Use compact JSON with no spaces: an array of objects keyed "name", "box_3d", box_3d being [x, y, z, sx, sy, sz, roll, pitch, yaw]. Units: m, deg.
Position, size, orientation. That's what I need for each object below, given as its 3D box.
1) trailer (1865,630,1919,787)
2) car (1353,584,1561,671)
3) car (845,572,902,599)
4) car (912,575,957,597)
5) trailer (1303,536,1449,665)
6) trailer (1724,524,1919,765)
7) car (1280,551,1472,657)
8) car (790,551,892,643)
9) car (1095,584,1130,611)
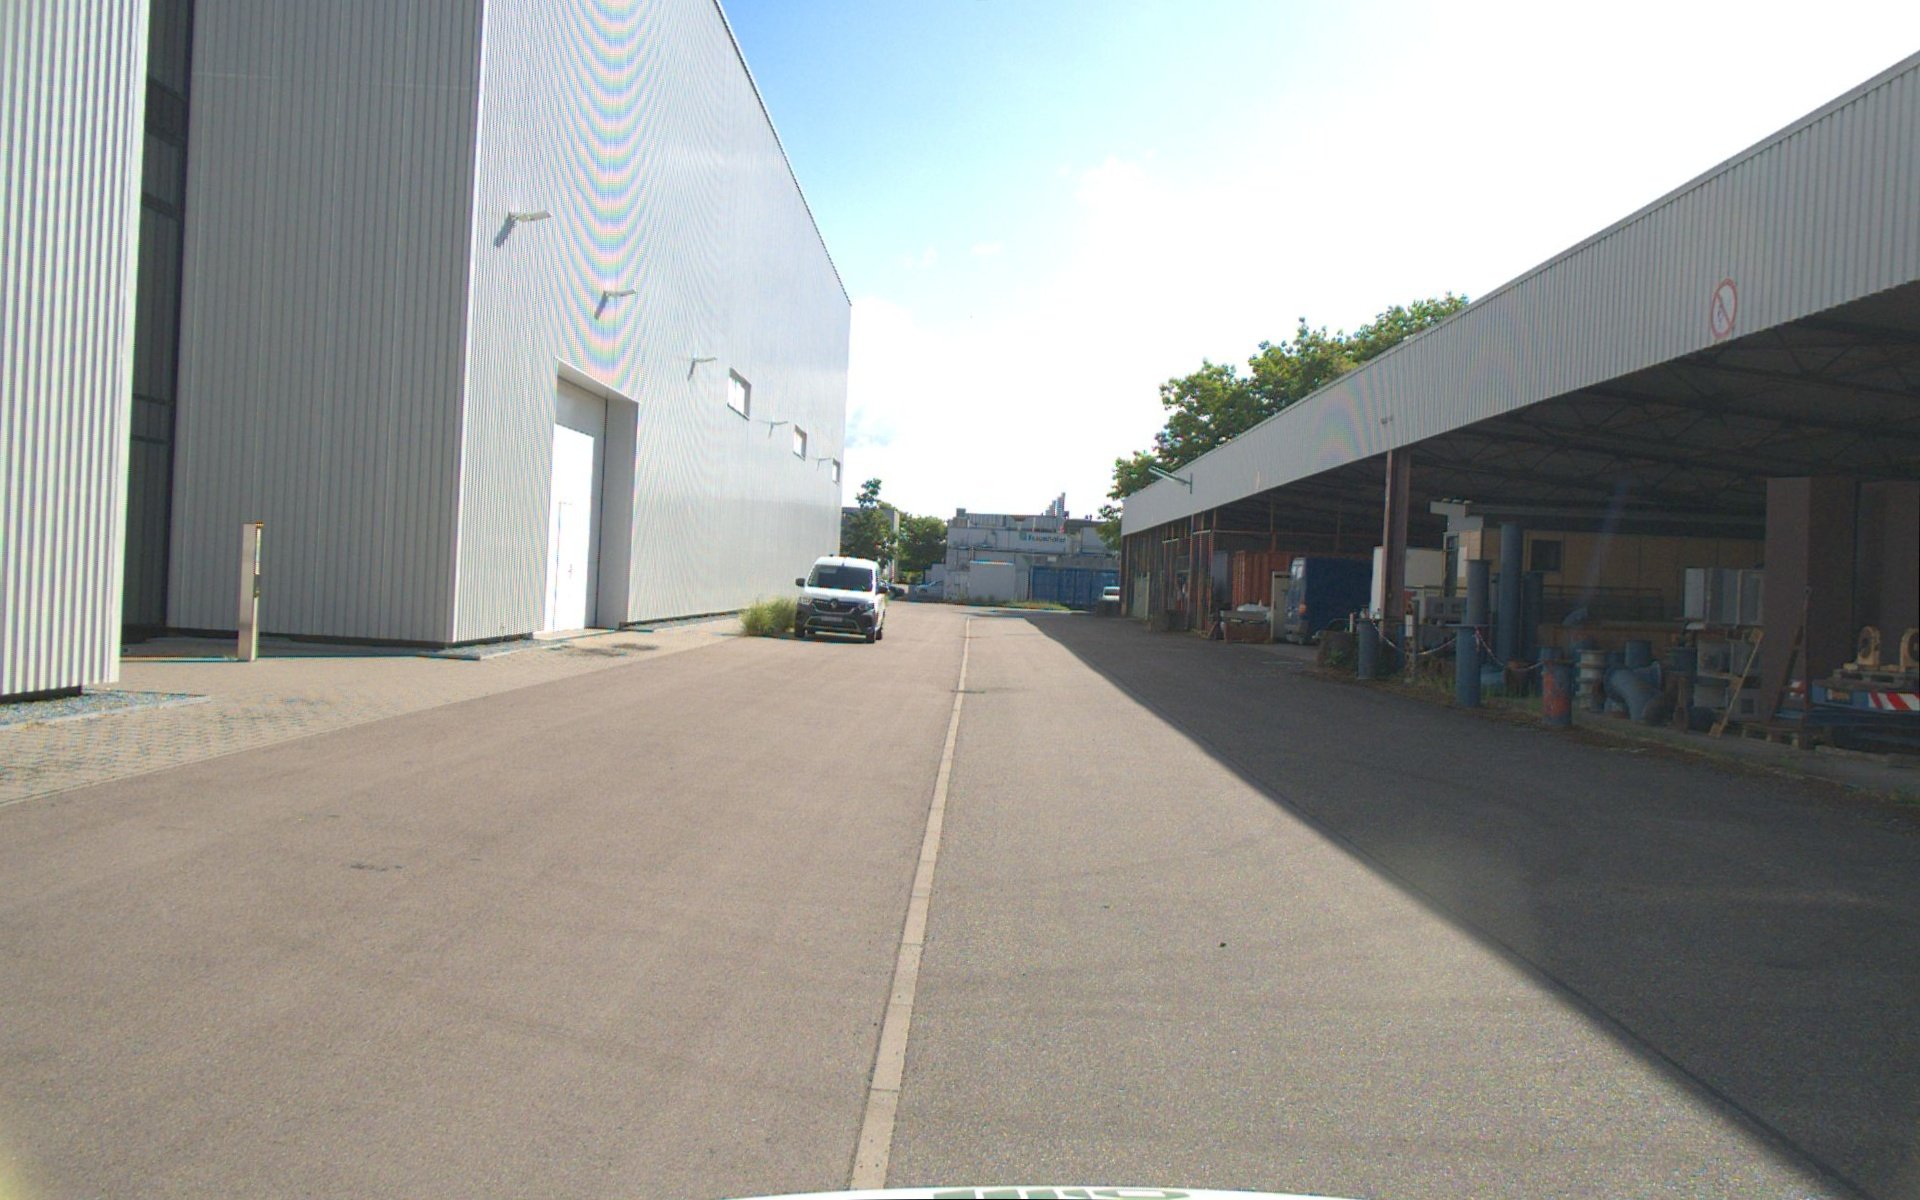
[{"name":"trailer","box_3d":[10.095,0.938,12.156,5.729,1.153,2.141,2,1,-2]},{"name":"car","box_3d":[10.732,0.601,35.886,3.955,1.551,1.684,4,-1,1]},{"name":"car","box_3d":[-6.221,-1.018,119.379,3.907,1.626,1.741,4,-1,-1]},{"name":"car","box_3d":[-2.267,-1.226,147.244,3.907,1.626,1.848,4,-1,-1]},{"name":"trailer","box_3d":[8.426,0.019,33.628,2.471,2.440,1.727,3,0,1]},{"name":"trailer","box_3d":[10.434,0.460,15.360,5.647,2.067,2.078,2,1,1]},{"name":"car","box_3d":[10.616,0.126,42.405,4.342,2.349,1.915,4,-2,1]},{"name":"car","box_3d":[-2.605,-0.102,37.139,1.781,1.818,4.406,4,1,1]},{"name":"car","box_3d":[9.838,-0.183,106.889,1.922,1.591,4.060,4,1,2]}]
